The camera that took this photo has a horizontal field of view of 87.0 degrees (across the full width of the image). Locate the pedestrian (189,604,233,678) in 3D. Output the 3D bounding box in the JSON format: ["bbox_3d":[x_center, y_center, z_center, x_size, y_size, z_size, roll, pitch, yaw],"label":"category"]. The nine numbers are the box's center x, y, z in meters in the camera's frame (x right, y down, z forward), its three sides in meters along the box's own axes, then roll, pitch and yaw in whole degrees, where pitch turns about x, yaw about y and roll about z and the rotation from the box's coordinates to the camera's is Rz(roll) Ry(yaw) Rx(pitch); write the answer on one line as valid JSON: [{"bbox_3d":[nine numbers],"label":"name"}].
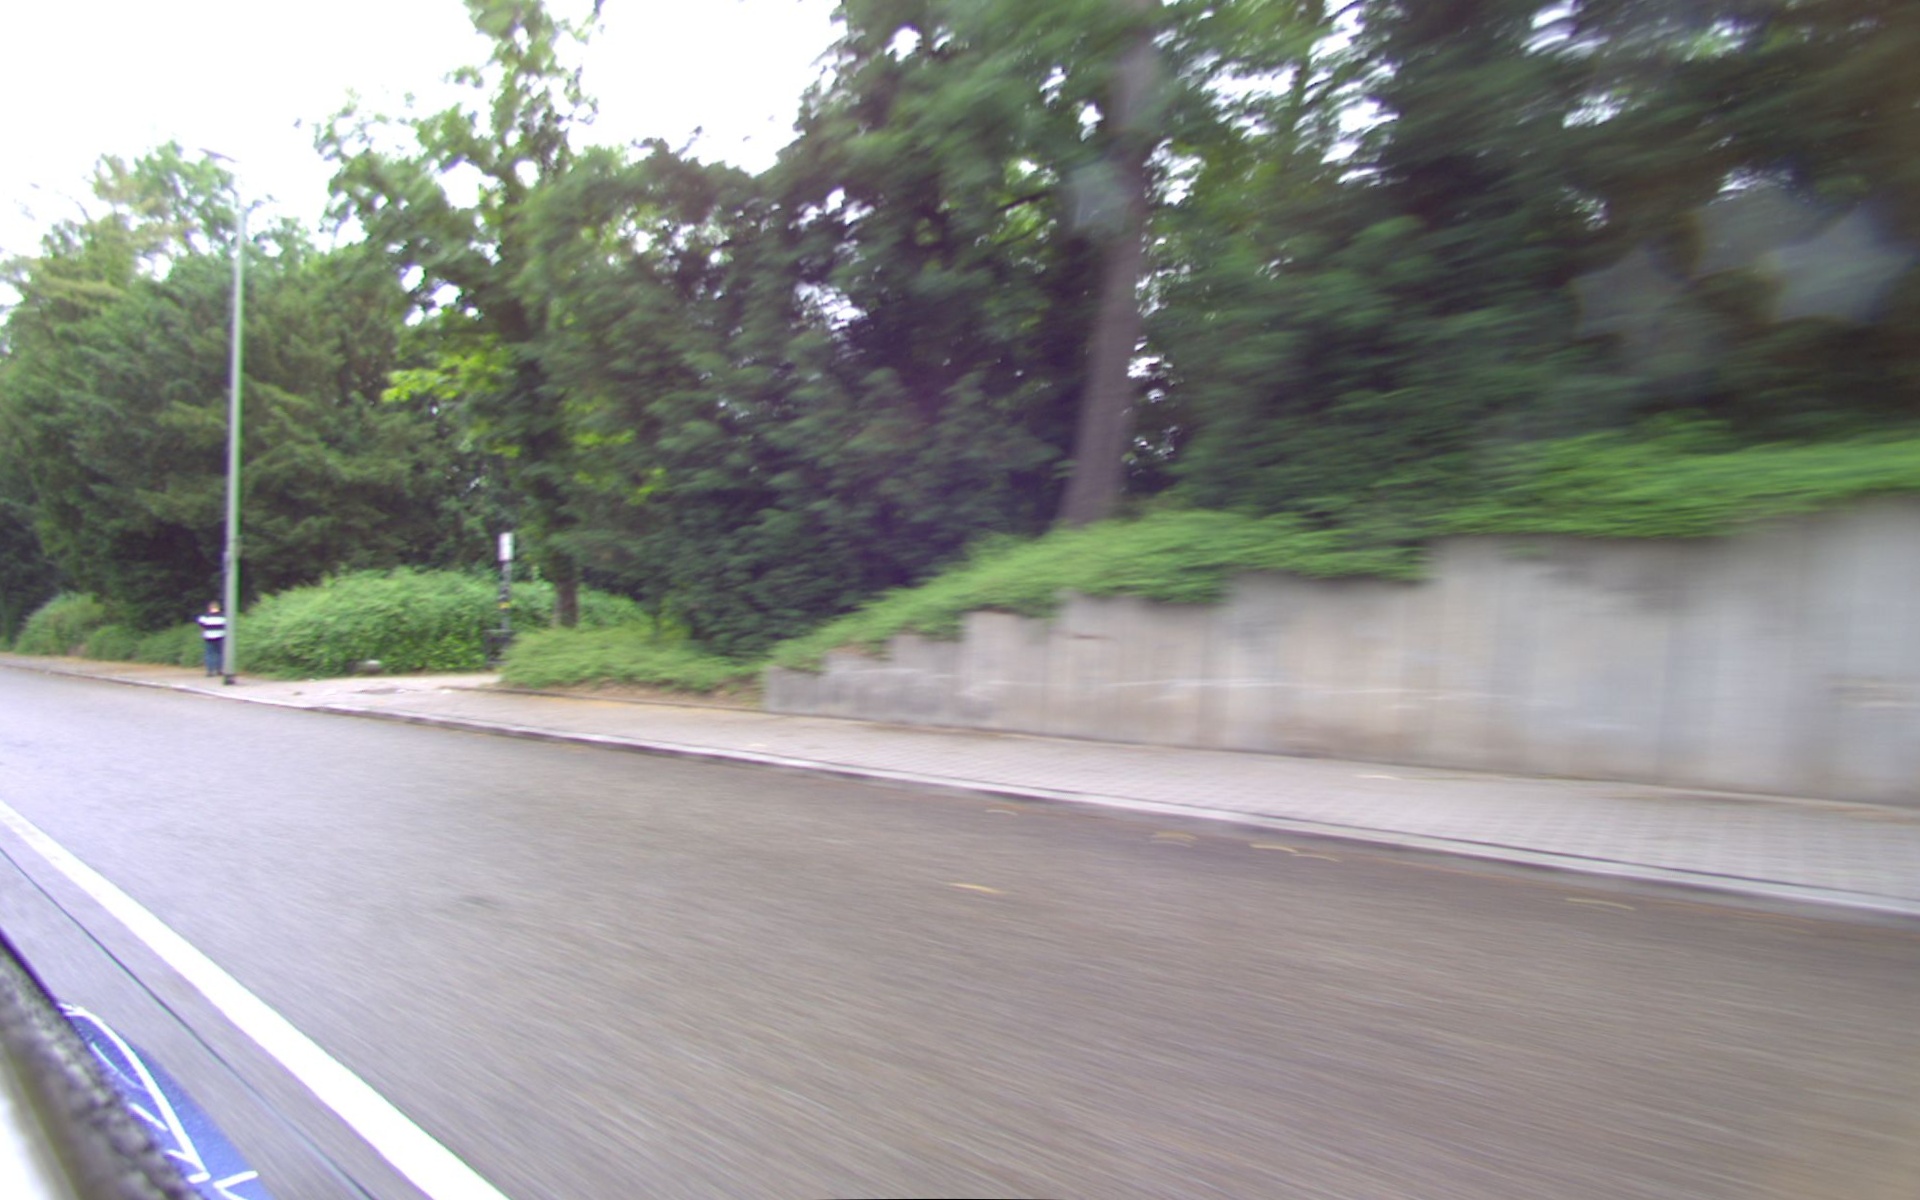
[{"bbox_3d":[-16.981,0.914,22.940,0.698,1.656,0.714,0,-1,-45],"label":"pedestrian"}]
